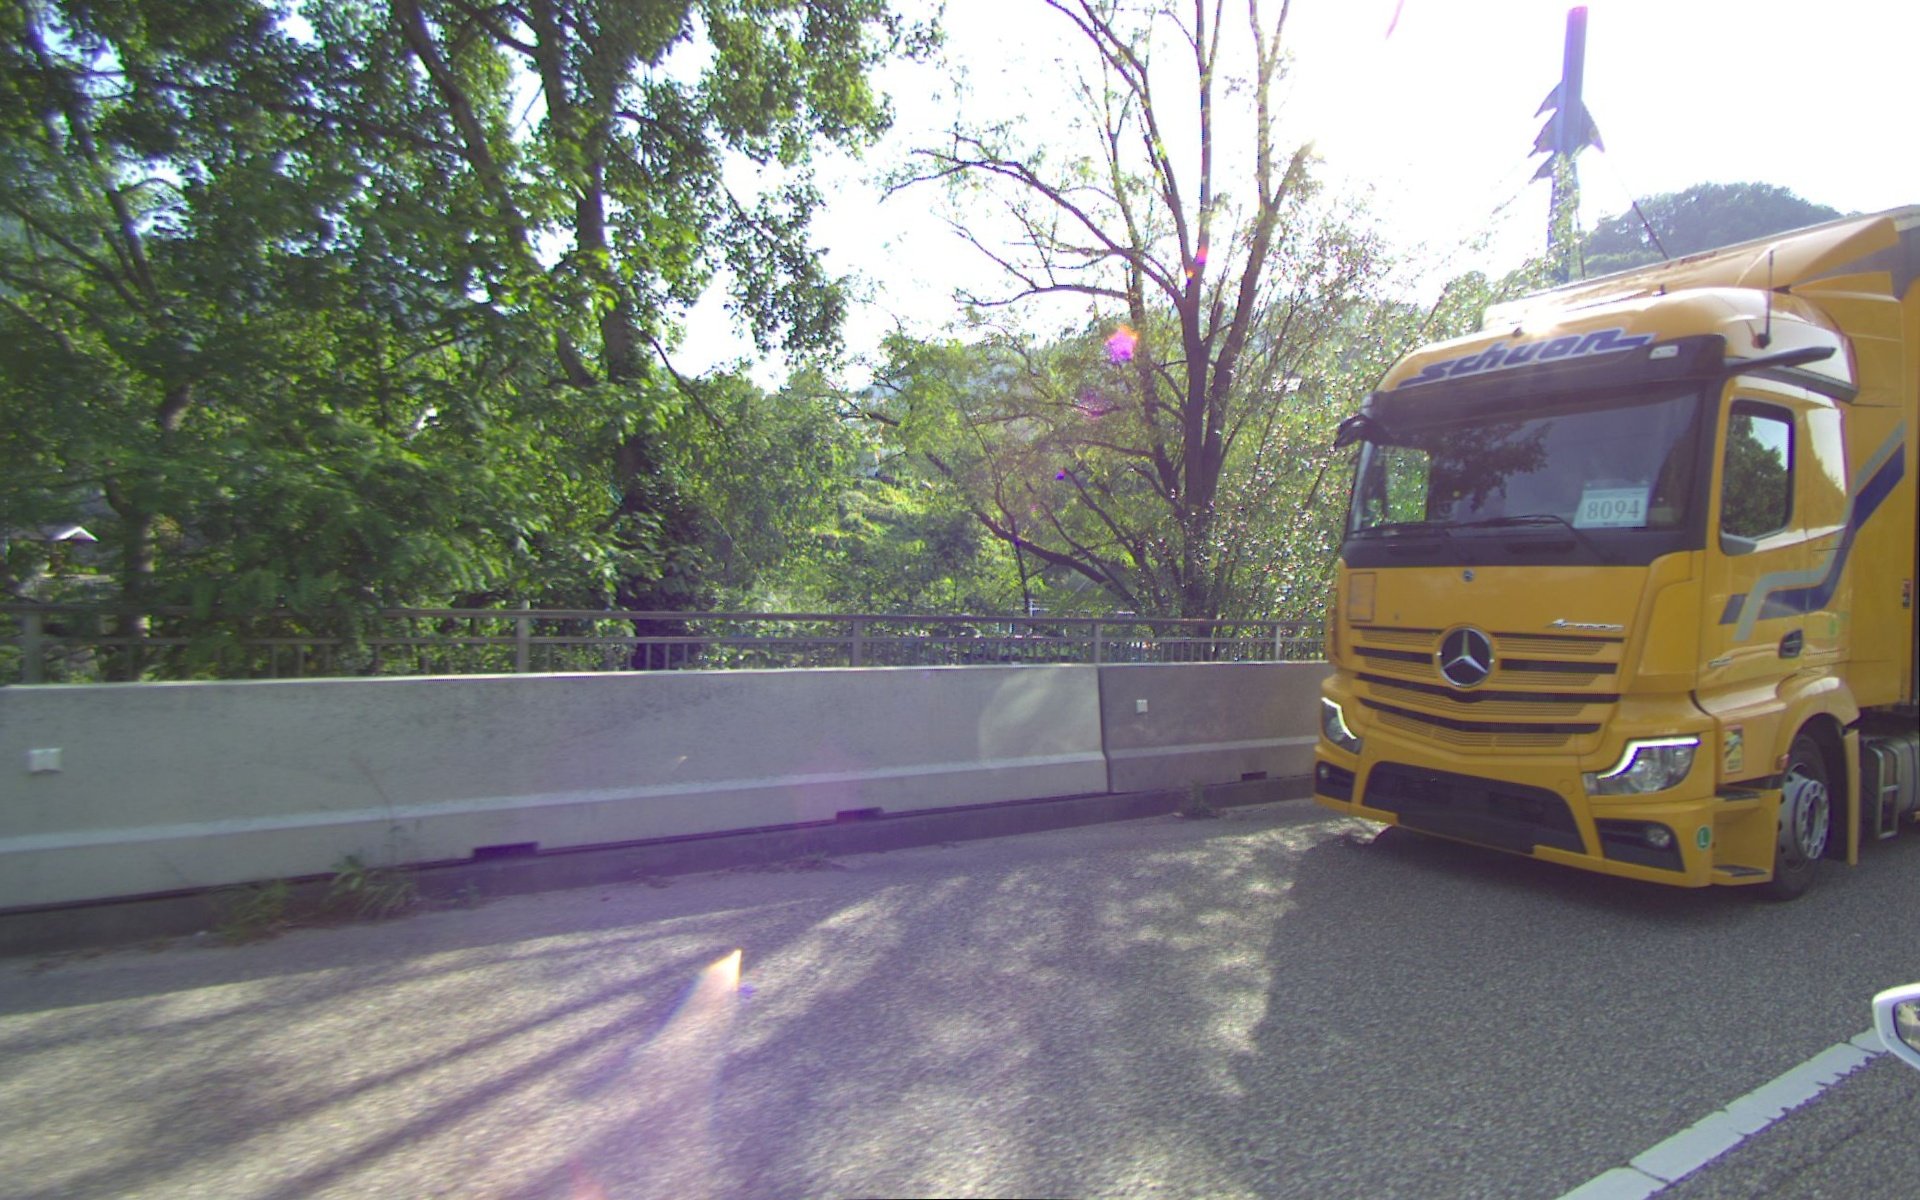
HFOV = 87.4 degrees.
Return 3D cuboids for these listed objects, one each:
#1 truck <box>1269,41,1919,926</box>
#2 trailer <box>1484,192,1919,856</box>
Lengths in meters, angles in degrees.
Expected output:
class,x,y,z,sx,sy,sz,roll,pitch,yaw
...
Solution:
class,x,y,z,sx,sy,sz,roll,pitch,yaw
truck,5.551,-0.462,7.490,6.341,4.081,2.726,2,-1,-32
trailer,10.829,-0.310,10.955,13.524,4.066,2.840,2,-1,-33
